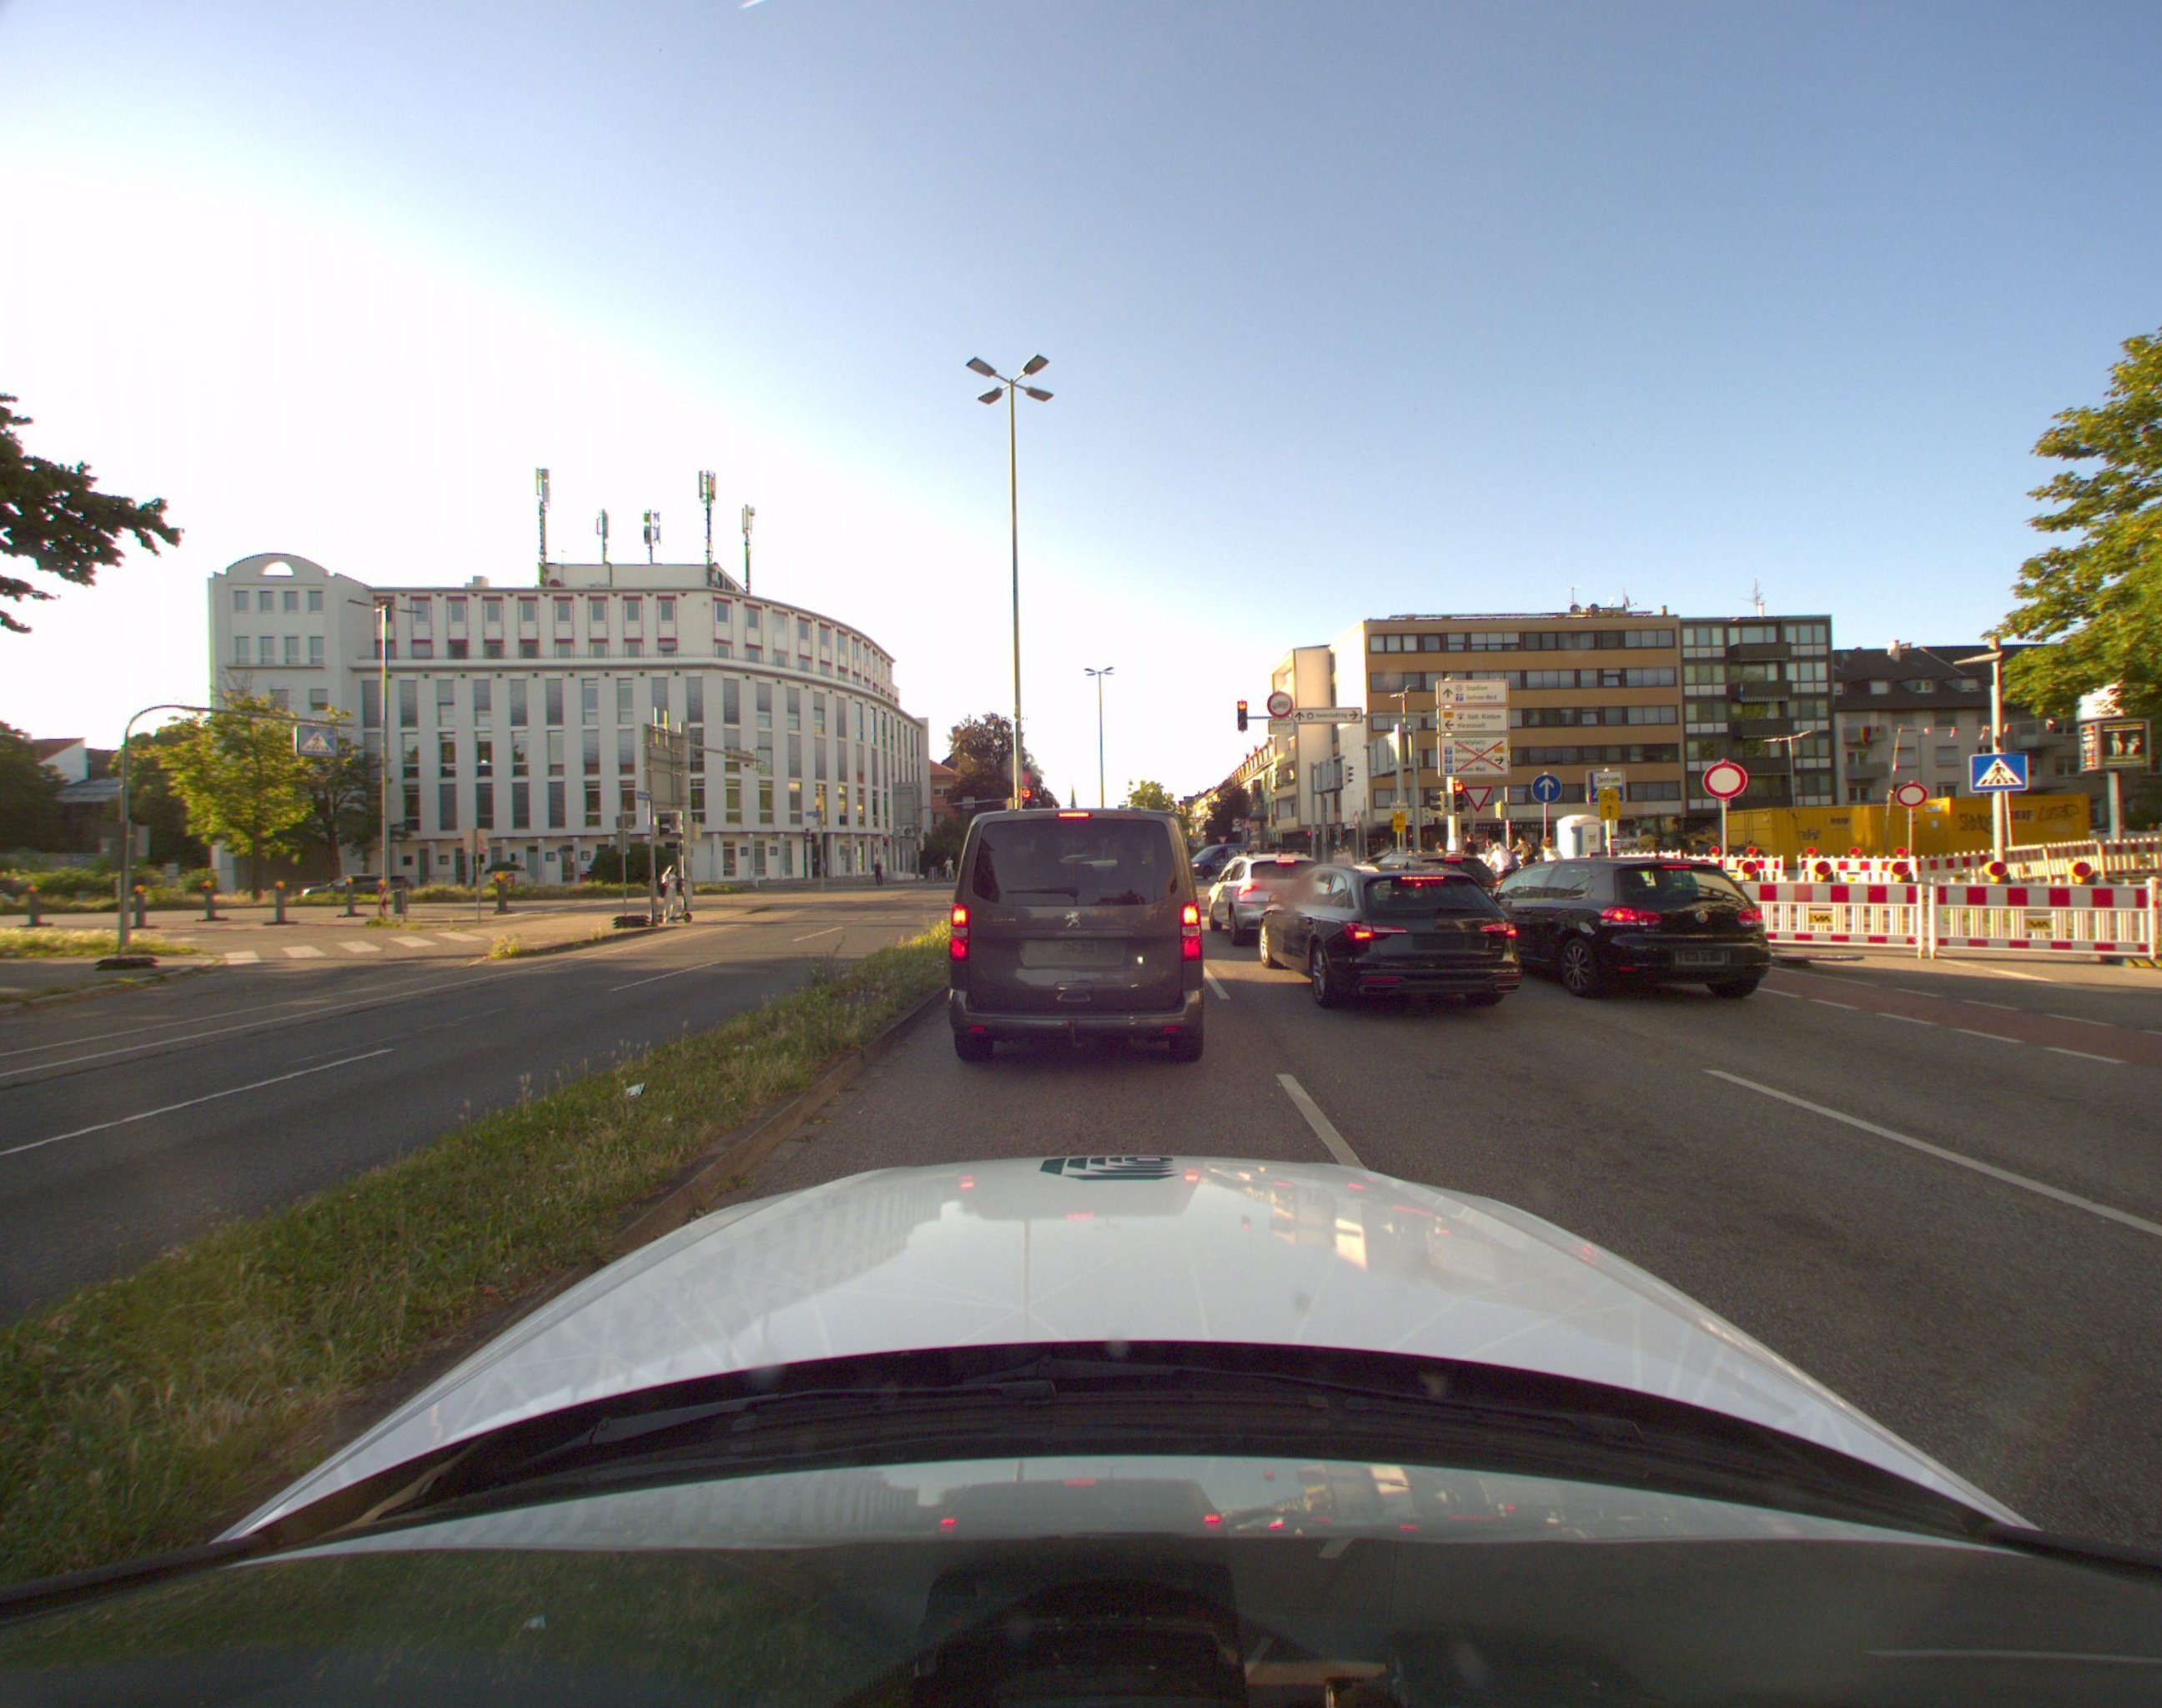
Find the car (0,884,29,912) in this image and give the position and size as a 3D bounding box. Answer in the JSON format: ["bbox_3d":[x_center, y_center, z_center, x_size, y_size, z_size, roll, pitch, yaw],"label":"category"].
[{"bbox_3d":[-58.637,2.382,42.841,3.979,1.420,1.785,-2,0,-4],"label":"car"}]

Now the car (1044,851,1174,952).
[{"bbox_3d":[0.500,0.747,14.733,1.986,1.530,4.002,-2,0,2],"label":"car"}]

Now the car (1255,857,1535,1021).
[{"bbox_3d":[3.198,0.758,9.244,1.675,1.421,4.215,0,0,2],"label":"car"}]

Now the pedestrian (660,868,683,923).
[{"bbox_3d":[-11.549,1.166,22.973,0.474,1.505,0.334,-2,0,-10],"label":"pedestrian"}]

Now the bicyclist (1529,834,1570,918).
[{"bbox_3d":[8.641,0.399,15.031,0.439,1.525,0.482,-2,0,1],"label":"bicyclist"}]

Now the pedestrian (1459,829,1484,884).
[{"bbox_3d":[13.198,0.092,27.538,0.567,1.834,0.488,-2,0,4],"label":"pedestrian"}]

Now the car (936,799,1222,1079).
[{"bbox_3d":[0.055,0.569,7.694,1.900,1.863,4.528,0,0,2],"label":"car"}]

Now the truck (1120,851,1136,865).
[{"bbox_3d":[7.303,0.649,126.556,2.116,2.087,4.641,-2,0,8],"label":"truck"}]

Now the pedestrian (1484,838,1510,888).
[{"bbox_3d":[13.986,0.294,27.409,0.599,1.671,0.455,-2,0,3],"label":"pedestrian"}]

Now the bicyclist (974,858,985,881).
[{"bbox_3d":[-9.077,1.363,72.960,0.830,2.014,1.065,0,-1,3],"label":"bicyclist"}]

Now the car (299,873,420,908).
[{"bbox_3d":[-36.625,1.836,41.420,4.330,1.549,1.785,-2,0,-4],"label":"car"}]

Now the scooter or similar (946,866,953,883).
[{"bbox_3d":[-9.471,1.458,58.673,0.284,1.189,1.169,-2,0,2],"label":"scooter or similar"}]

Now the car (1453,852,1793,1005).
[{"bbox_3d":[6.016,0.712,9.635,1.627,1.449,3.746,0,0,2],"label":"car"}]

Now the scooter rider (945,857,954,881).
[{"bbox_3d":[-9.472,1.105,58.715,0.479,1.697,0.636,-2,0,1],"label":"scooter rider"}]

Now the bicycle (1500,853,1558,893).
[{"bbox_3d":[13.358,0.546,24.296,1.481,1.161,0.376,0,1,43],"label":"bicycle"}]

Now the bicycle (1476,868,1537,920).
[{"bbox_3d":[8.909,0.809,17.100,0.335,1.008,1.856,-2,0,2],"label":"bicycle"}]

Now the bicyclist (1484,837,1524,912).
[{"bbox_3d":[8.908,0.424,17.184,0.439,1.525,0.725,-2,0,2],"label":"bicyclist"}]

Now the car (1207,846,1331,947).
[{"bbox_3d":[3.301,0.687,14.930,1.523,1.613,3.746,0,0,2],"label":"car"}]

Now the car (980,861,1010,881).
[{"bbox_3d":[-6.579,1.287,62.823,1.850,1.420,4.000,-2,0,0],"label":"car"}]

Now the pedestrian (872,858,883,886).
[{"bbox_3d":[-12.825,1.150,51.365,0.626,1.722,0.668,-2,0,-12],"label":"pedestrian"}]

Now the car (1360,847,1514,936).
[{"bbox_3d":[6.555,0.638,15.346,1.499,1.449,3.306,-2,0,2],"label":"car"}]

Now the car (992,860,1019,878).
[{"bbox_3d":[-6.281,1.220,68.431,1.850,1.420,4.000,-2,0,0],"label":"car"}]

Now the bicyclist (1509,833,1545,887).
[{"bbox_3d":[13.308,0.168,24.312,0.804,1.589,0.623,0,1,43],"label":"bicyclist"}]

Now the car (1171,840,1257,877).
[{"bbox_3d":[7.190,0.216,44.006,4.240,1.817,1.982,-2,0,-28],"label":"car"}]

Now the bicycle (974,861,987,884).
[{"bbox_3d":[-9.032,1.642,73.089,0.712,2.013,2.564,-2,0,2],"label":"bicycle"}]

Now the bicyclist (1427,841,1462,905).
[{"bbox_3d":[8.974,0.458,20.120,0.511,1.525,0.725,-2,0,1],"label":"bicyclist"}]

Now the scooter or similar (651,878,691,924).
[{"bbox_3d":[-11.474,1.303,22.799,0.893,1.234,0.370,-2,0,-10],"label":"scooter or similar"}]
